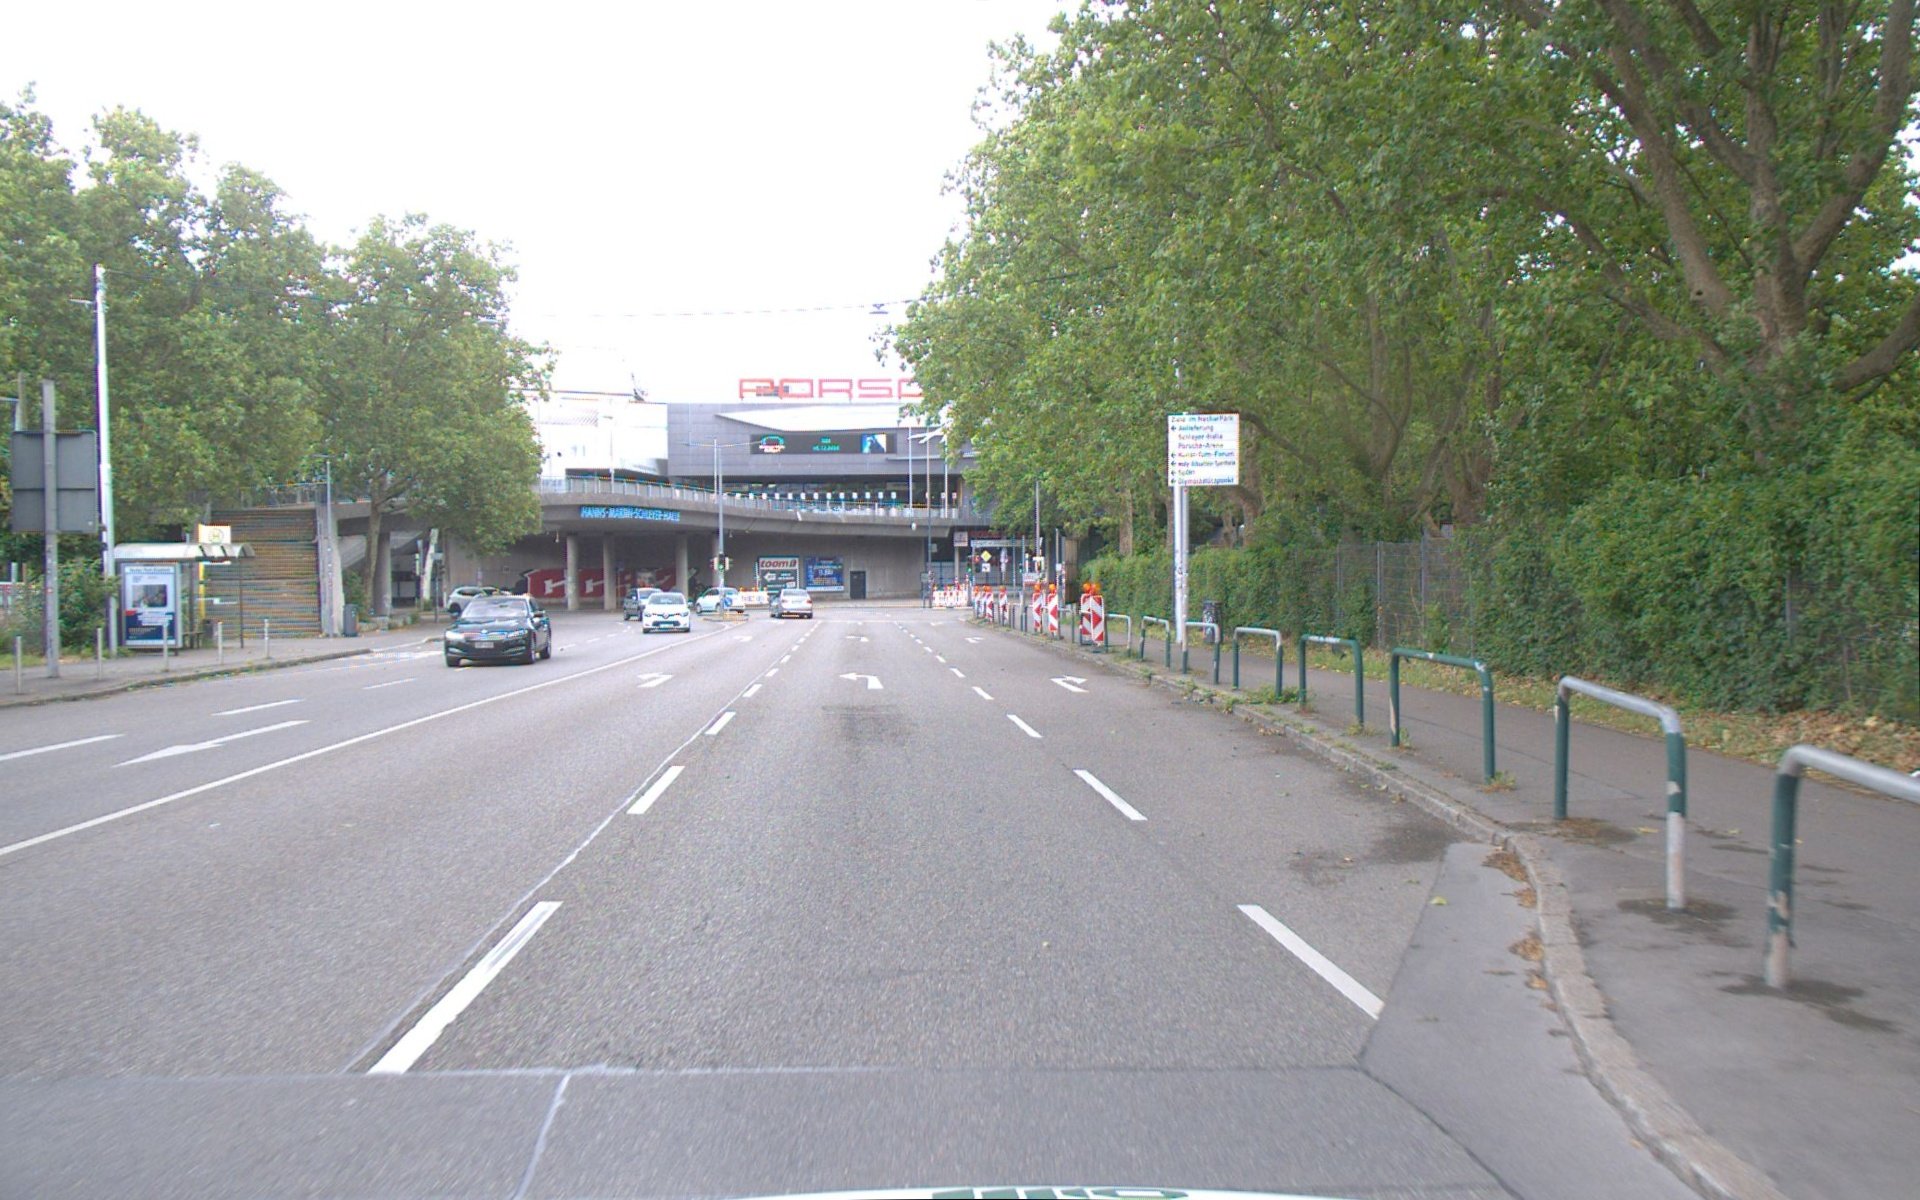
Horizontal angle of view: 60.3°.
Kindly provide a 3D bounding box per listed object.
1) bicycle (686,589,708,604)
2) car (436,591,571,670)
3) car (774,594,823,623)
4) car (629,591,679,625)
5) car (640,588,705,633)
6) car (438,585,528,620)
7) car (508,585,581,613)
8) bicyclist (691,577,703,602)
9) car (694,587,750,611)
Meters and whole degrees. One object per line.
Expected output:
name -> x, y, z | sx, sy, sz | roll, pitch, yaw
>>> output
bicycle -> -19.072, -0.238, 119.915 | 1.504, 1.031, 0.516 | 1, 0, -8
car -> -9.925, 0.614, 36.321 | 1.955, 1.557, 4.721 | -2, 1, -5
car -> -8.236, 0.398, 83.989 | 1.959, 1.443, 3.986 | 0, 0, -13
car -> -14.773, 0.366, 80.002 | 1.955, 1.552, 3.996 | -1, 0, -5
car -> -10.603, 0.368, 61.223 | 1.955, 1.557, 4.381 | -2, 0, -5
car -> -25.962, 0.143, 90.008 | 4.490, 1.775, 1.998 | -2, -1, 27
car -> -25.680, -0.061, 102.353 | 3.901, 1.689, 2.002 | 0, 0, 11
bicyclist -> -19.070, -0.758, 119.923 | 0.835, 1.727, 0.765 | 1, 0, -7
car -> -13.642, -0.054, 94.901 | 1.603, 1.336, 3.342 | 0, 0, -42
